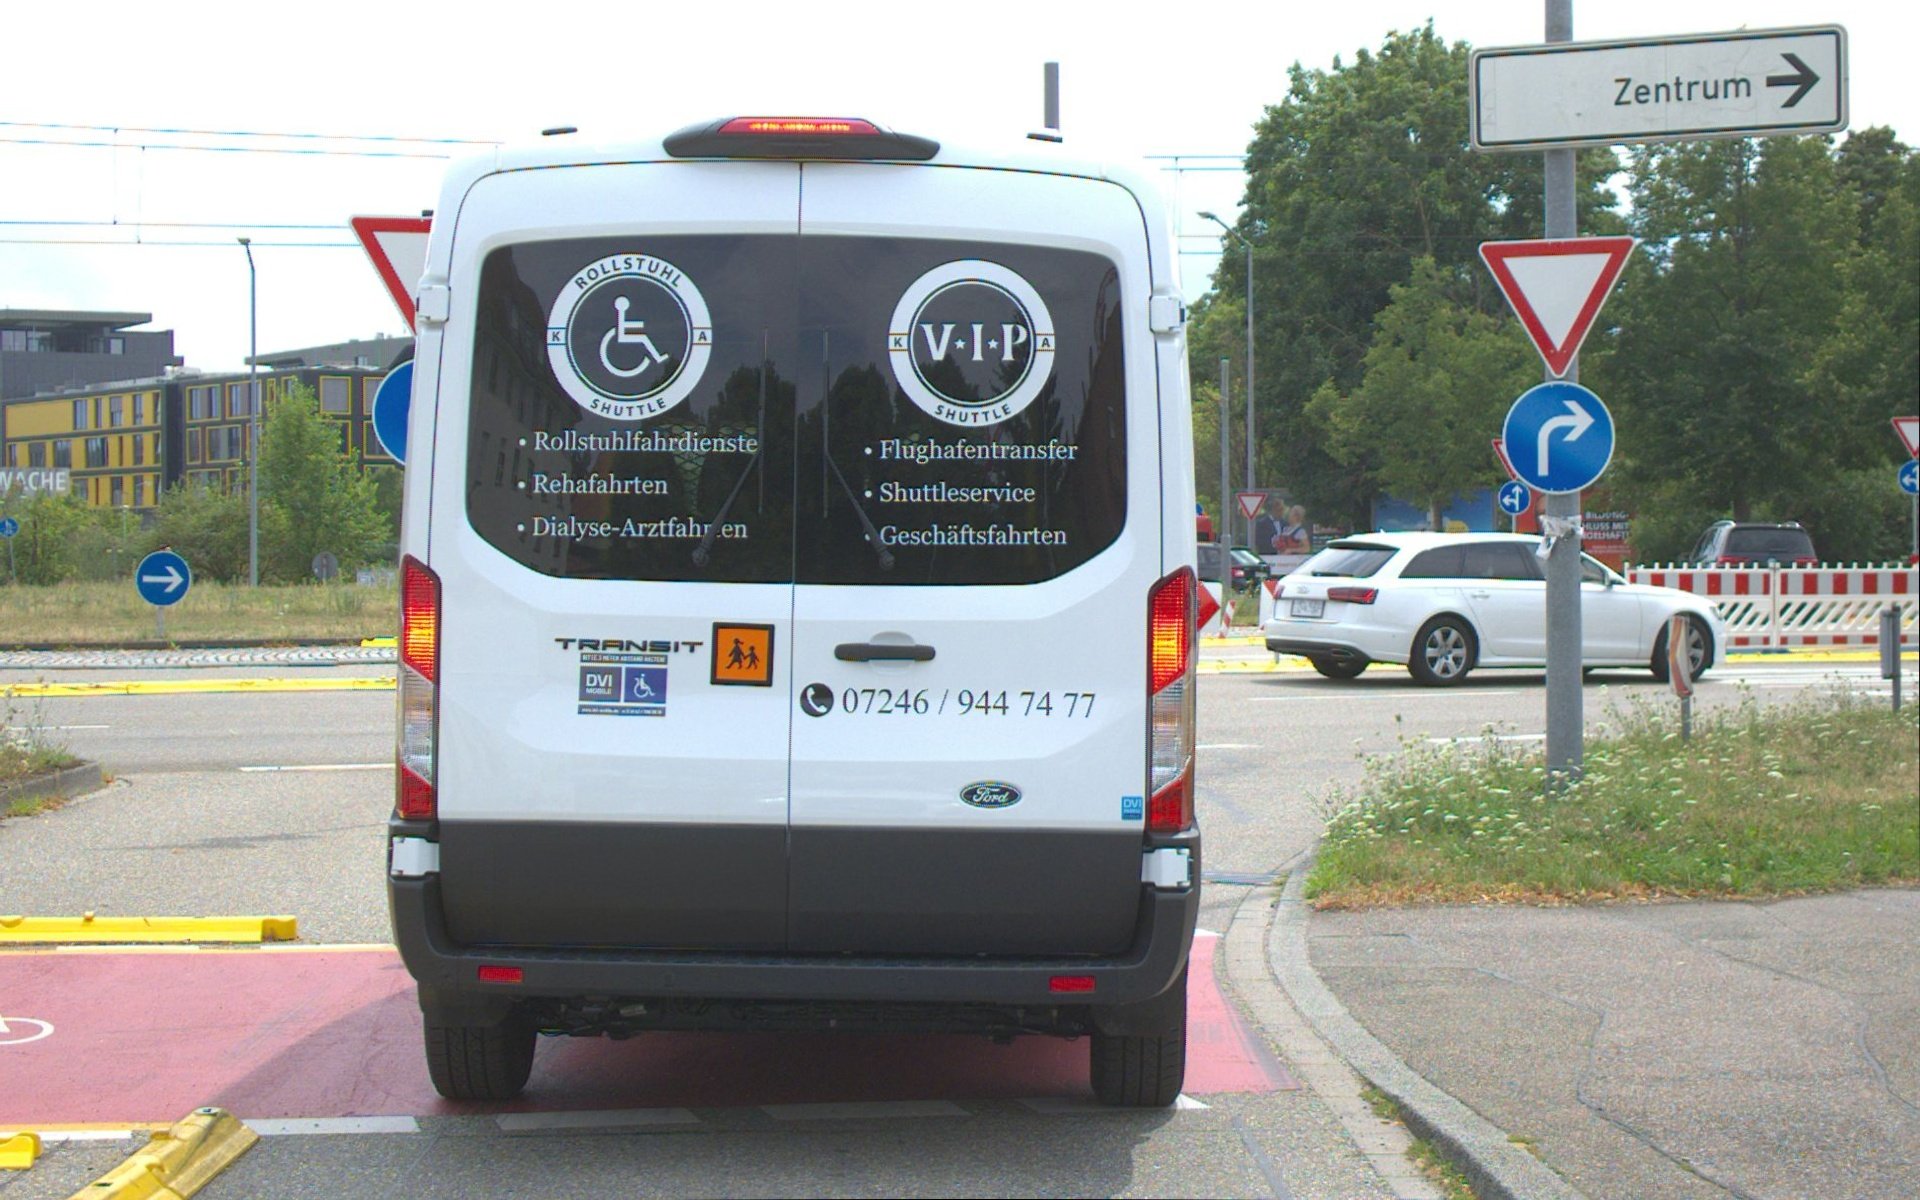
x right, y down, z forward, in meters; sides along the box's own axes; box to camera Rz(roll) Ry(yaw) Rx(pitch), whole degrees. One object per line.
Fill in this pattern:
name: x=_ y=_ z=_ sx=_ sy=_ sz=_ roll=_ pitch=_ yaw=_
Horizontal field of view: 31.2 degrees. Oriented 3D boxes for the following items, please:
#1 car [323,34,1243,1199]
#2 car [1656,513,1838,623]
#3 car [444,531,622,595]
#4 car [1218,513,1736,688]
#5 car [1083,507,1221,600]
car: x=-0.271 y=0.013 z=10.742 sx=2.126 sy=2.688 sz=5.631 roll=0 pitch=1 yaw=3
car: x=12.948 y=-0.501 z=56.772 sx=1.993 sy=1.744 sz=4.000 roll=0 pitch=0 yaw=-1
car: x=-11.290 y=-0.975 z=91.020 sx=4.343 sy=1.660 sz=1.938 roll=-1 pitch=1 yaw=-41
car: x=5.072 y=-0.021 z=33.625 sx=4.736 sy=1.612 sz=2.000 roll=0 pitch=1 yaw=-27
car: x=4.869 y=-1.164 z=87.957 sx=2.024 sy=2.271 sz=4.160 roll=1 pitch=0 yaw=-20
